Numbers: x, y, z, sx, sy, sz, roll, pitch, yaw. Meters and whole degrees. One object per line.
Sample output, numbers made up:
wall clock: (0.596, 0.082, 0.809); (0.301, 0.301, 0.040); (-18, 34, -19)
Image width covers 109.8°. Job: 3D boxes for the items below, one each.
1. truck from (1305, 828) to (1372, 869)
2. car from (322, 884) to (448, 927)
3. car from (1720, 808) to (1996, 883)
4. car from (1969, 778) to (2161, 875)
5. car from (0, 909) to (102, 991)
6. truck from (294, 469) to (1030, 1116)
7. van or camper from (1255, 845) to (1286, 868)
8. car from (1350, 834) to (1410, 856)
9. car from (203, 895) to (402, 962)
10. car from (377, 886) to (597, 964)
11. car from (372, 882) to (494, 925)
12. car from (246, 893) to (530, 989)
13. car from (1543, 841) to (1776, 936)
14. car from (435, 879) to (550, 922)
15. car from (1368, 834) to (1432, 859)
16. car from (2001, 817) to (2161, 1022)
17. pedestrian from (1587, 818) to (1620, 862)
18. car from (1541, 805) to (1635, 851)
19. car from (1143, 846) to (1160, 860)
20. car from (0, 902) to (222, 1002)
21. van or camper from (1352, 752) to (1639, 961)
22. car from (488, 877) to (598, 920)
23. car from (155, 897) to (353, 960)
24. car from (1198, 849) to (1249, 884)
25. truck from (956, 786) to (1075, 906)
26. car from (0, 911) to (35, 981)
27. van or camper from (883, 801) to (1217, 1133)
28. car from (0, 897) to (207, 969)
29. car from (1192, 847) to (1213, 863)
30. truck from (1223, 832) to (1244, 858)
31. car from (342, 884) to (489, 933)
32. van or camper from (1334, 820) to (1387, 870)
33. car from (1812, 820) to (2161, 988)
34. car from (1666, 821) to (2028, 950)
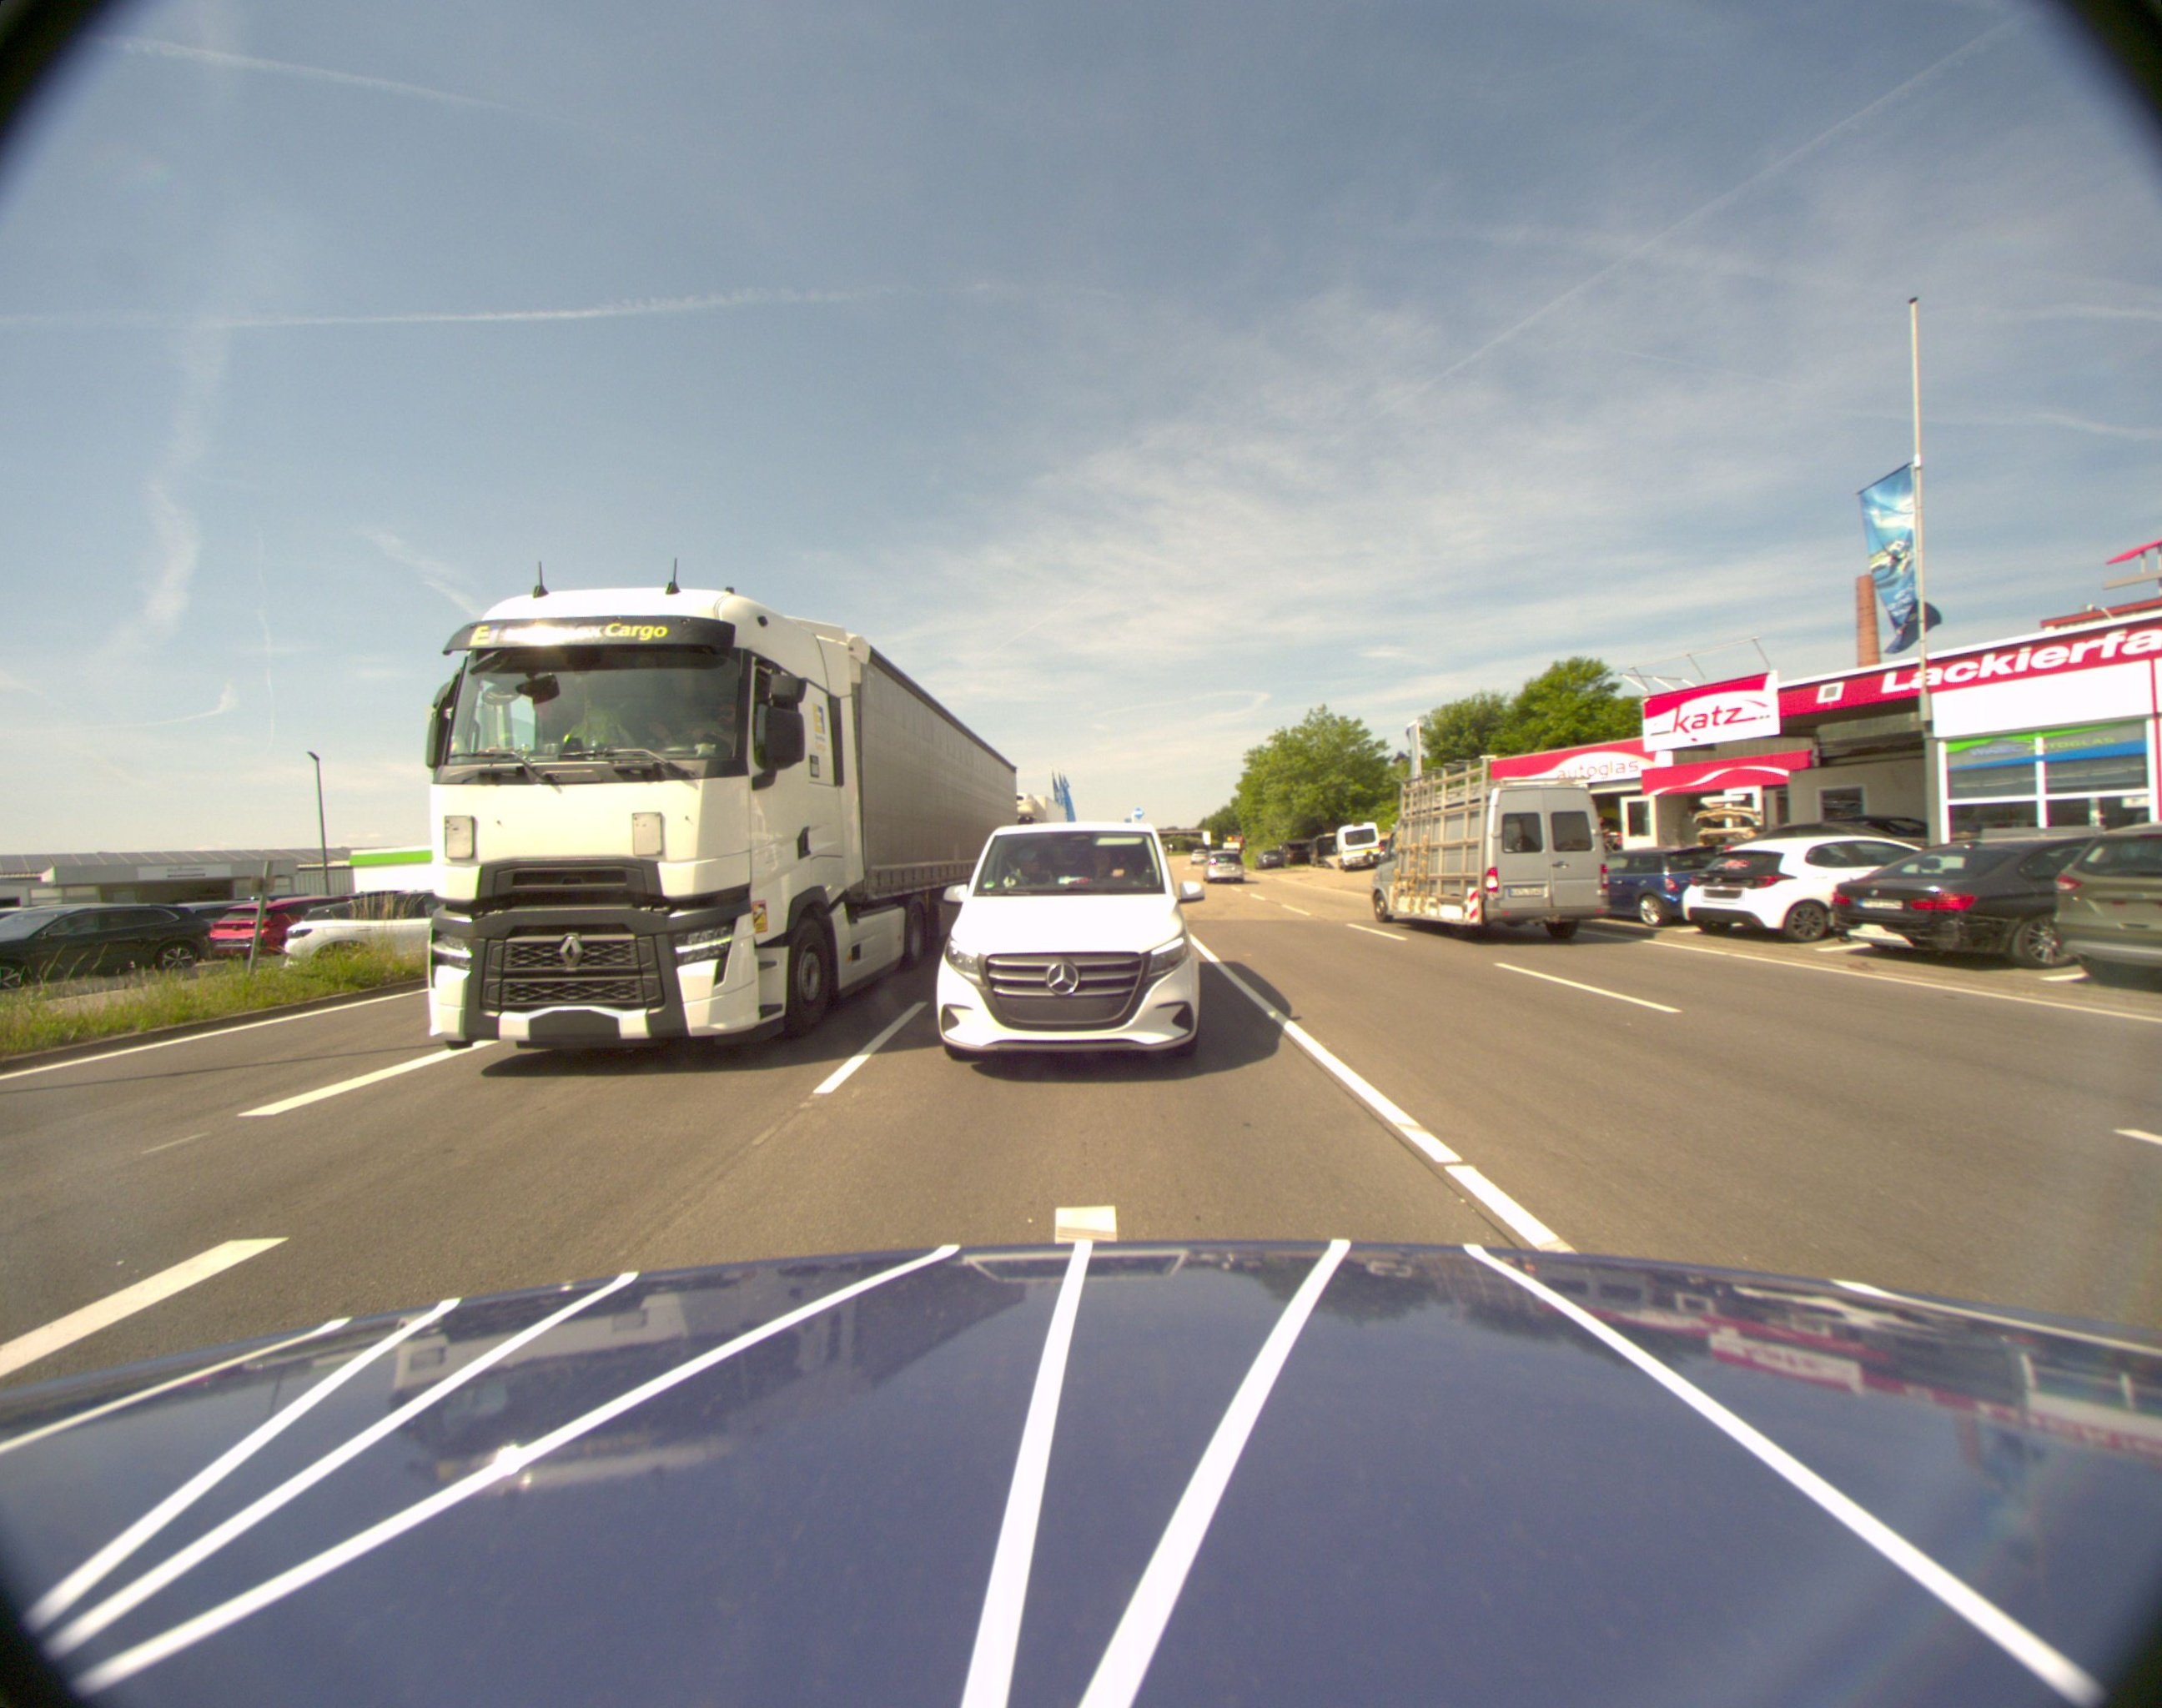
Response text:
truck: (17.116, -0.403, 51.125); (2.335, 2.283, 8.806); (-7, 0, 7)
car: (-30.588, 2.211, 33.583); (1.789, 1.565, 4.000); (-2, 0, 1)
car: (19.157, -0.130, 19.041); (1.861, 1.496, 4.390); (-5, -1, -21)
car: (20.664, -0.558, 14.970); (1.706, 1.749, 3.754); (-6, 2, -24)
car: (-23.808, 2.136, 15.769); (1.856, 1.608, 3.828); (-2, 0, 5)
truck: (-3.390, -0.448, 13.461); (2.897, 4.241, 16.711); (-2, 0, 3)
van or camper: (14.165, 0.143, 56.969); (1.643, 1.515, 4.469); (-3, 1, 6)
car: (21.567, -0.638, 54.790); (3.673, 1.460, 1.737); (-3, 1, -16)
car: (-20.944, 1.951, 20.666); (1.562, 1.401, 3.596); (-1, 1, 3)
car: (-13.524, 1.557, 17.592); (3.668, 1.394, 1.735); (-3, 1, -25)
car: (-28.100, 2.095, 33.138); (1.789, 1.565, 4.000); (-2, 0, 1)
car: (-13.162, 1.592, 14.752); (3.668, 1.394, 1.735); (-3, 1, -25)
car: (11.309, 0.589, 15.235); (1.783, 1.485, 3.782); (-6, 0, 3)
car: (-25.409, 1.957, 33.011); (1.789, 1.565, 4.000); (-2, 0, 1)
car: (21.194, -0.489, 50.452); (3.674, 1.521, 1.736); (-3, 1, -21)
car: (11.454, 0.443, 6.895); (3.895, 1.707, 1.806); (-6, 1, 0)
pedestrian: (21.287, -0.564, 30.965); (0.724, 1.752, 0.895); (-3, 2, 4)
car: (23.337, -1.192, 34.996); (3.674, 1.715, 1.736); (-6, 2, -21)
car: (7.793, -0.119, 84.182); (1.810, 1.551, 4.388); (-1, 0, 5)
car: (-21.326, 1.995, 15.726); (1.998, 1.647, 4.283); (-2, 0, 5)
van or camper: (7.146, 0.023, 14.125); (2.213, 3.038, 5.902); (-1, 0, 1)
car: (-22.959, 1.850, 32.652); (1.789, 1.565, 4.000); (-2, 0, 1)
car: (-23.296, 2.048, 21.626); (1.562, 1.401, 3.596); (-1, 1, 3)
car: (7.211, 0.588, 38.786); (1.914, 1.653, 4.180); (0, 0, 2)
truck: (-2.169, -0.298, 30.046); (2.885, 3.789, 11.143); (-2, 1, 4)
car: (-26.501, 2.241, 16.554); (1.707, 1.608, 3.970); (-2, 0, 5)
van or camper: (-0.058, 0.707, 7.361); (1.998, 2.002, 5.291); (-2, 0, 3)
car: (-28.546, 2.218, 21.965); (1.707, 1.608, 3.971); (-2, 0, 6)
car: (12.394, 0.051, 77.540); (1.913, 1.512, 4.783); (-2, 0, 8)
truck: (25.870, -1.422, 128.559); (2.960, 4.184, 10.657); (0, 0, 14)
car: (-25.055, 2.038, 28.674); (3.996, 1.565, 1.790); (-2, 0, 3)
van or camper: (15.812, -0.545, 43.339); (2.157, 2.484, 5.956); (-6, 0, 16)
car: (11.667, 0.524, 9.267); (3.717, 1.516, 1.792); (-6, 1, -1)
car: (11.915, 0.452, 12.028); (3.805, 1.516, 1.846); (-6, 1, -1)
